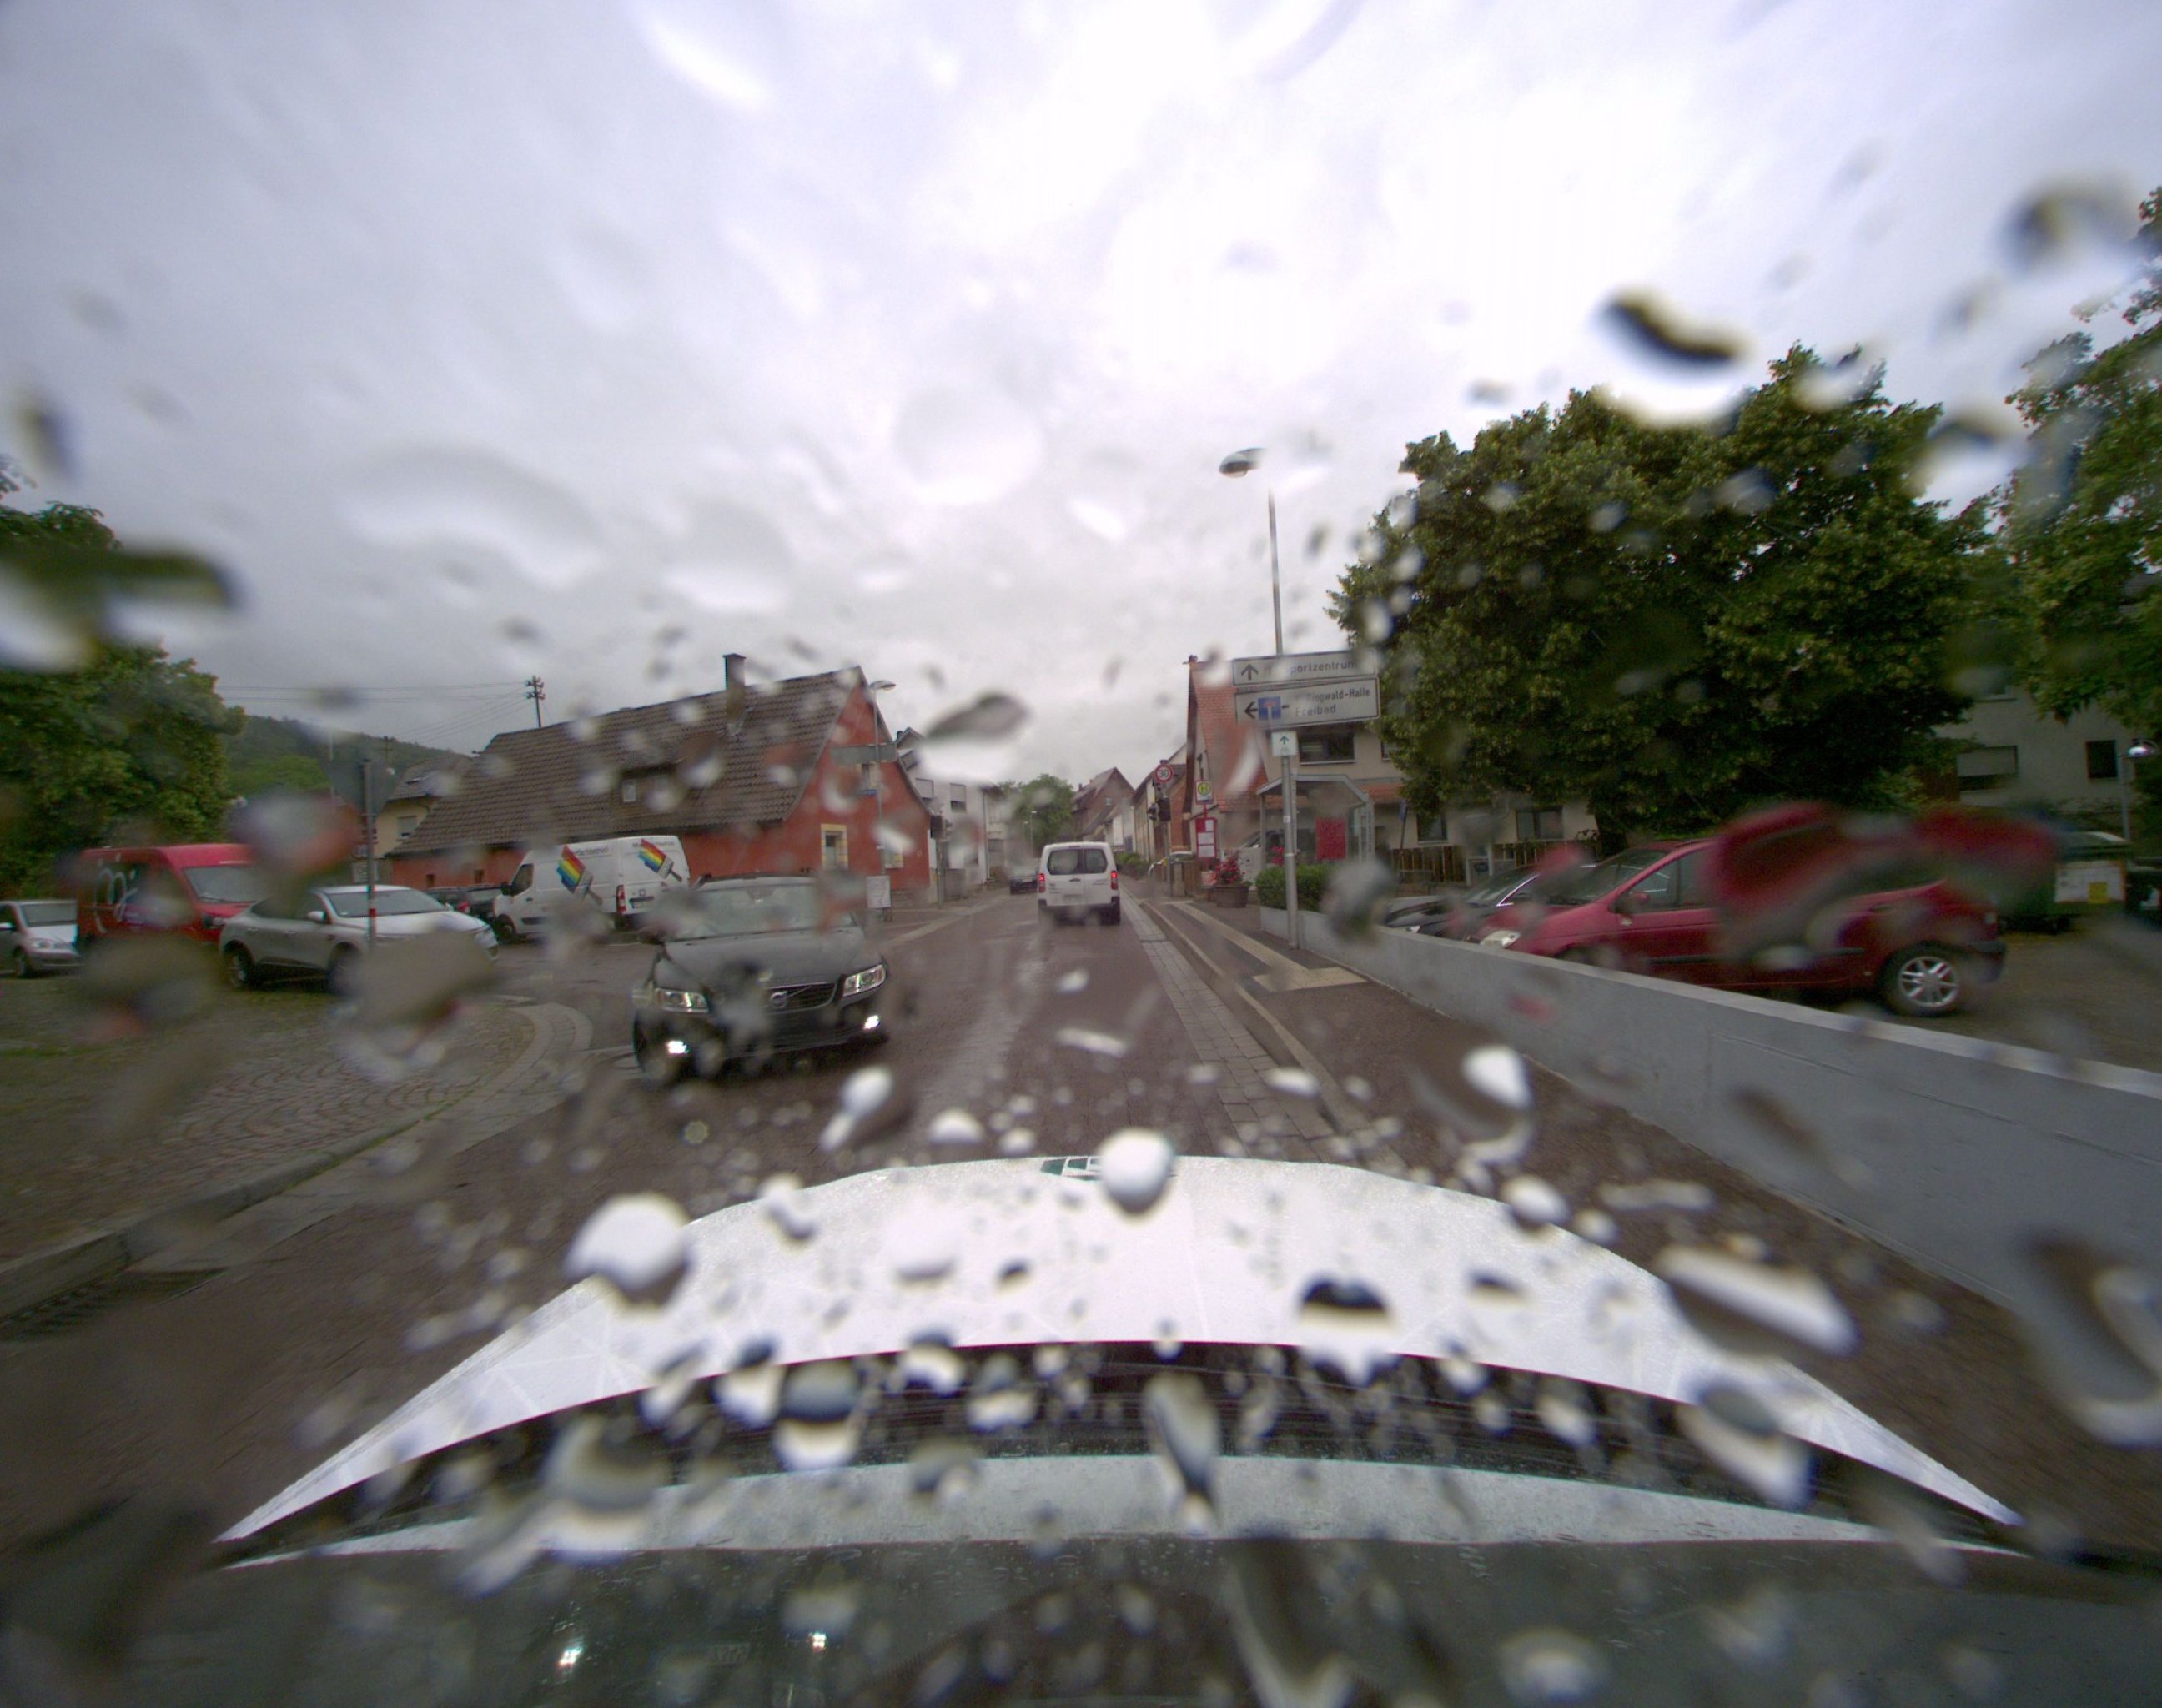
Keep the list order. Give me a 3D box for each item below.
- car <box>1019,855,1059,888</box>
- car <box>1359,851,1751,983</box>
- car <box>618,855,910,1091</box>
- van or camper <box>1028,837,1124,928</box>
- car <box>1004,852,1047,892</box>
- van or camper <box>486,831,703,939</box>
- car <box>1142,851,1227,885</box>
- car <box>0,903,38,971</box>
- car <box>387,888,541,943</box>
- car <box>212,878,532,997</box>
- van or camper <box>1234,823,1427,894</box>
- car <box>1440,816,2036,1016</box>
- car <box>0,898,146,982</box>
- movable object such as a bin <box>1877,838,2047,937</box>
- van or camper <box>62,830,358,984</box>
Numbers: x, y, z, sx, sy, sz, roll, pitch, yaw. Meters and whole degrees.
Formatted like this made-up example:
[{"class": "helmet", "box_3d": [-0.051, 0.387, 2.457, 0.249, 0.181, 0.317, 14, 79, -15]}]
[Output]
[{"class": "car", "box_3d": [-2.365, 1.011, 46.763, 1.742, 1.636, 4.420, -5, -1, 2]}, {"class": "car", "box_3d": [5.791, 0.757, 10.433, 3.928, 1.378, 1.756, -3, 0, 8]}, {"class": "car", "box_3d": [-2.691, 0.828, 7.825, 1.846, 1.477, 4.294, -4, 0, -14]}, {"class": "van or camper", "box_3d": [-0.065, 0.570, 18.967, 1.936, 1.851, 4.001, -2, 1, 1]}, {"class": "car", "box_3d": [-2.712, 0.839, 40.535, 1.807, 1.779, 4.016, -3, 0, -1]}, {"class": "van or camper", "box_3d": [-12.456, 0.802, 20.805, 5.094, 2.435, 2.225, -3, 0, 26]}, {"class": "car", "box_3d": [5.227, 0.651, 41.679, 1.883, 1.590, 4.573, -2, 1, -31]}, {"class": "car", "box_3d": [-27.075, 2.051, 19.433, 3.765, 1.550, 1.811, -3, -2, 24]}, {"class": "car", "box_3d": [-17.416, 1.742, 22.985, 3.953, 1.281, 1.848, -3, 0, 26]}, {"class": "car", "box_3d": [-11.028, 1.211, 12.690, 4.407, 1.550, 1.892, -2, 0, 21]}, {"class": "van or camper", "box_3d": [7.215, 0.134, 23.843, 5.056, 1.923, 1.874, -1, -1, -3]}, {"class": "car", "box_3d": [5.842, 0.578, 7.884, 4.038, 1.589, 1.865, -3, 0, 15]}, {"class": "car", "box_3d": [-22.168, 1.815, 17.335, 3.766, 1.550, 1.810, -3, -2, 22]}, {"class": "movable object such as a bin", "box_3d": [12.979, 0.470, 12.061, 1.237, 1.357, 1.156, -2, 0, 2]}, {"class": "van or camper", "box_3d": [-16.442, 0.975, 15.325, 5.804, 2.474, 2.168, -3, -2, 26]}]
